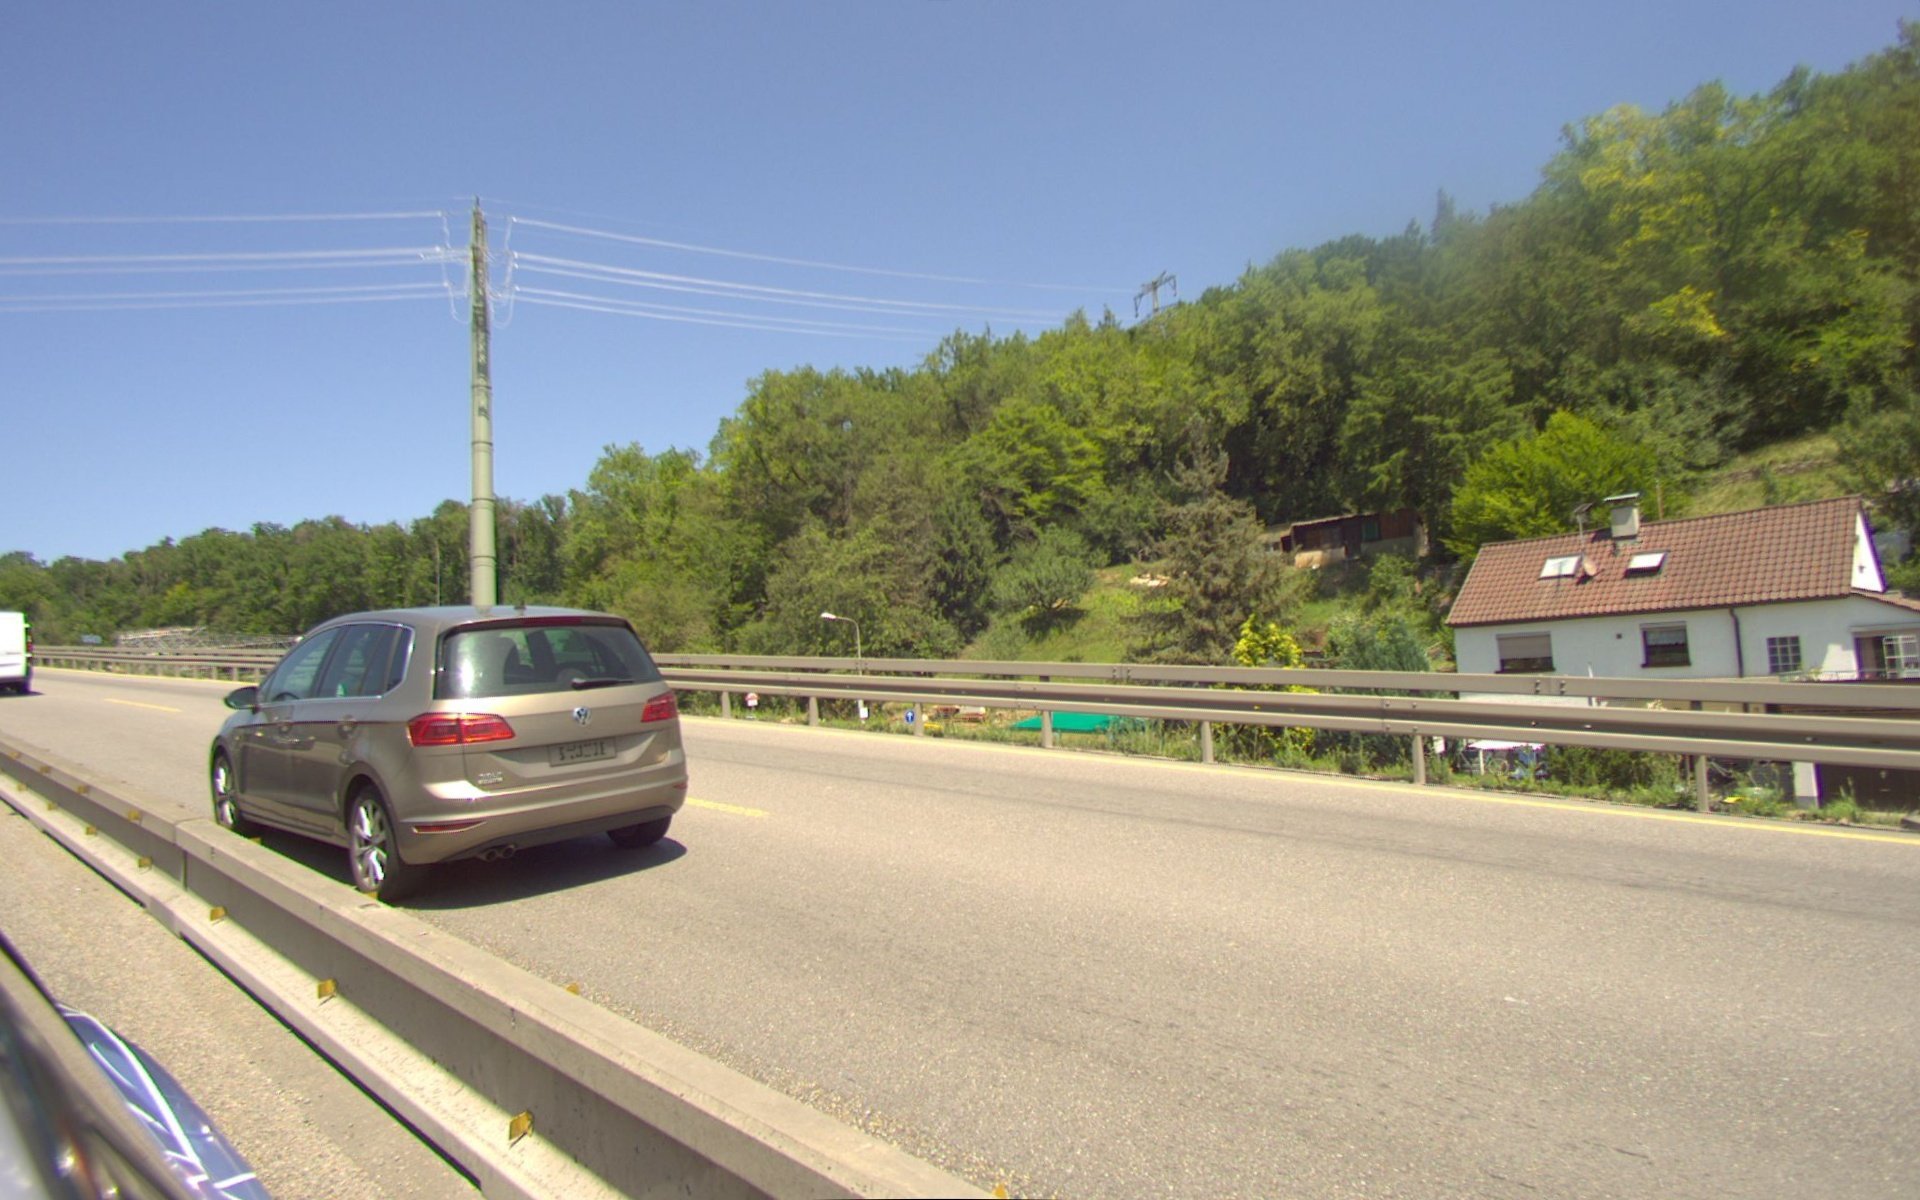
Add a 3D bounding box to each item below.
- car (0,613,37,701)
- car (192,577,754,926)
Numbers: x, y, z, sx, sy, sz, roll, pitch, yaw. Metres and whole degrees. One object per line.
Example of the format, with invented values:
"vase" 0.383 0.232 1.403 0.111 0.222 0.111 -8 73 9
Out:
"car" -24.149 1.359 24.545 4.853 2.026 1.973 -2 -2 40
"car" -3.341 0.724 6.598 3.997 1.586 1.827 -2 -1 40
